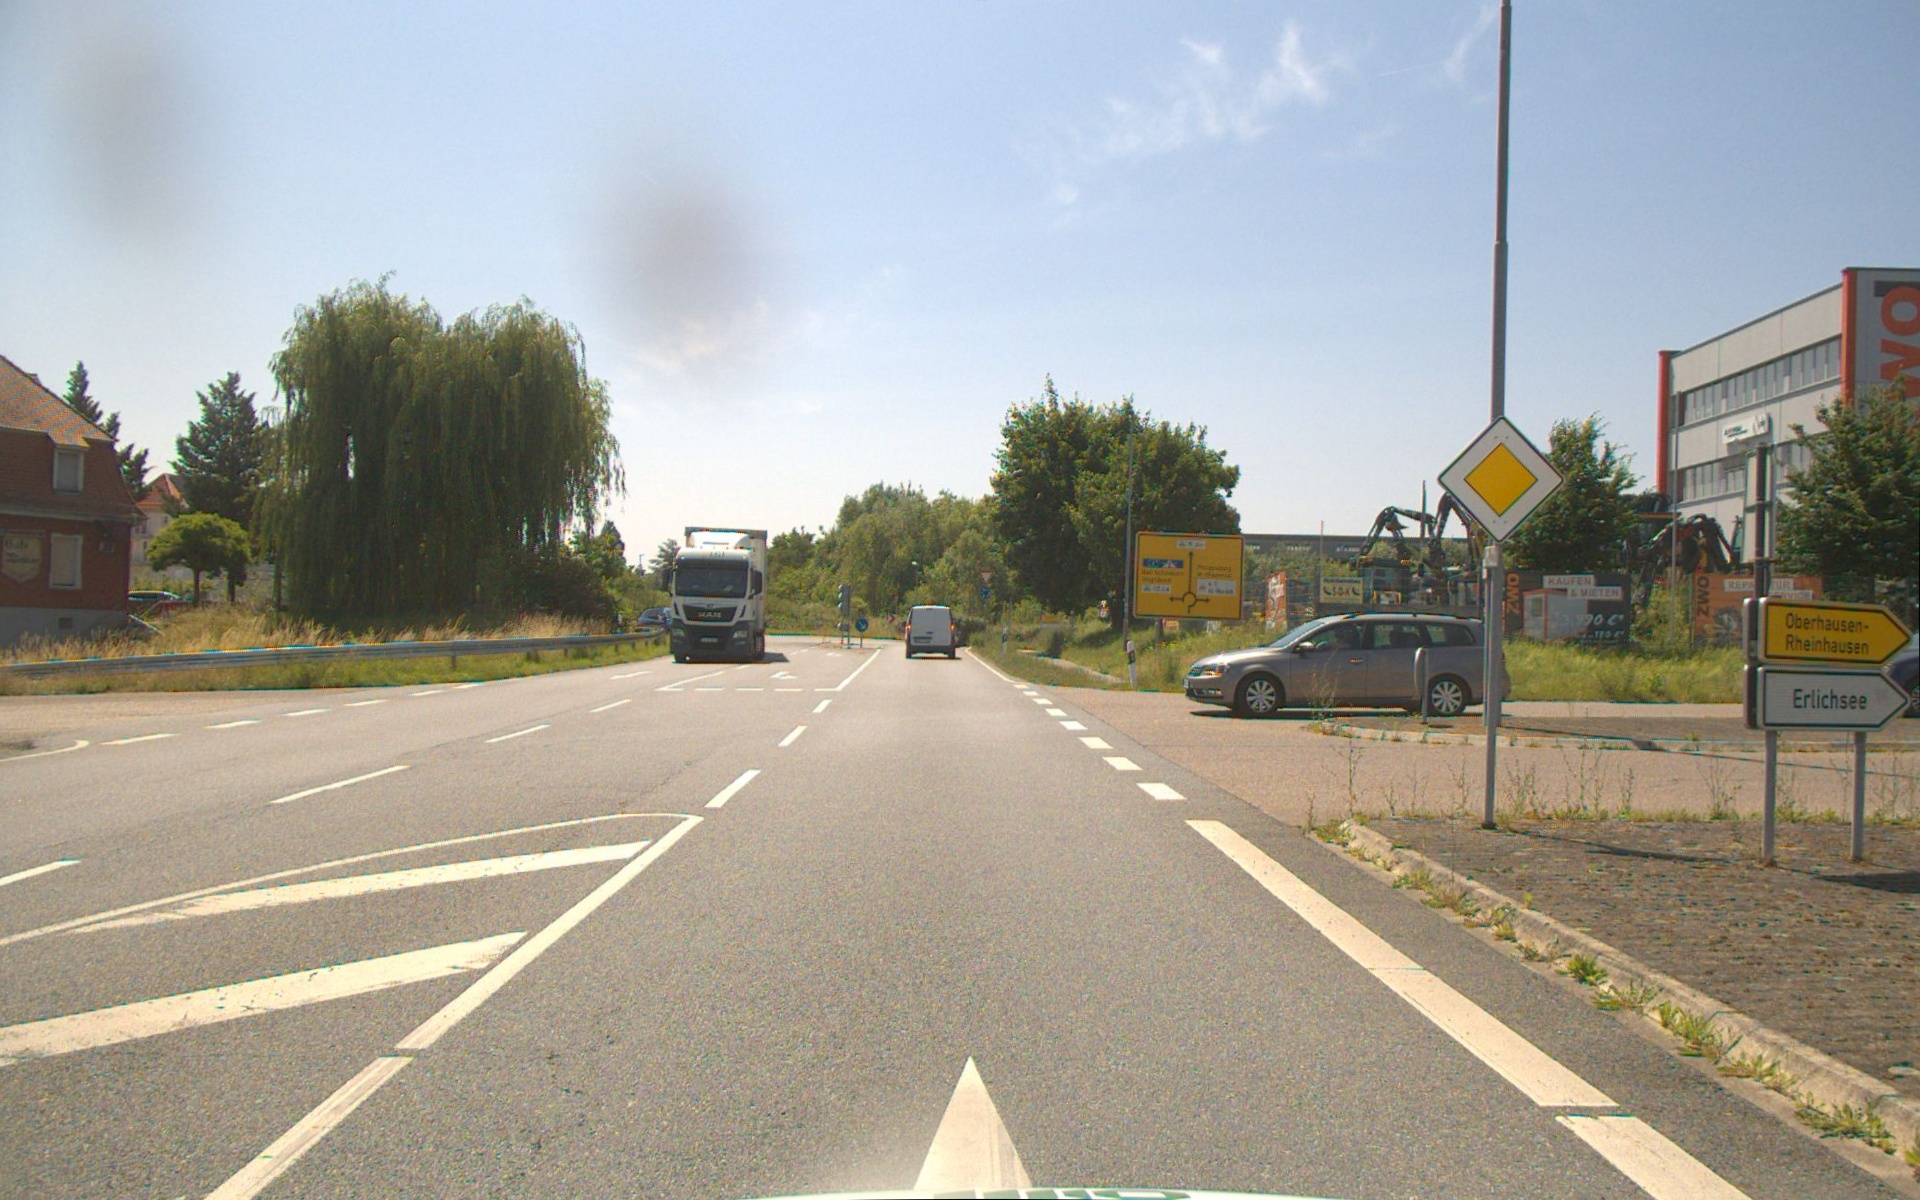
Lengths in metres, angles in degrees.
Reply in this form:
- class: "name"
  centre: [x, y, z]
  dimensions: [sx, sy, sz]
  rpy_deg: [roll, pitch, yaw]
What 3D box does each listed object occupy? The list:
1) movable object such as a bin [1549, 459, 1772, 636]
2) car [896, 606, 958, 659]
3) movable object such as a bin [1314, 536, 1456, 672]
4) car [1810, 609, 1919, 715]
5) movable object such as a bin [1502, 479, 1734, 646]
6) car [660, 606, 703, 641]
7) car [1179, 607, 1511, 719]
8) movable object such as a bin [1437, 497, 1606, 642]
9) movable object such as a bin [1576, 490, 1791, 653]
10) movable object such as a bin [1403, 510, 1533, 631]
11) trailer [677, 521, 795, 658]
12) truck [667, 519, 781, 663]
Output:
- class: "movable object such as a bin"
  centre: [22.592, -1.627, 53.557]
  dimensions: [5.796, 5.194, 3.109]
  rpy_deg: [3, -3, 2]
- class: "car"
  centre: [-1.184, 1.131, 57.896]
  dimensions: [1.867, 1.763, 3.818]
  rpy_deg: [2, -1, -5]
- class: "movable object such as a bin"
  centre: [11.243, 0.204, 44.159]
  dimensions: [2.276, 3.307, 5.099]
  rpy_deg: [3, -2, -1]
- class: "car"
  centre: [14.596, 0.872, 23.792]
  dimensions: [3.916, 1.466, 1.635]
  rpy_deg: [0, 0, 1]
- class: "movable object such as a bin"
  centre: [22.736, -1.212, 57.447]
  dimensions: [6.455, 5.238, 3.806]
  rpy_deg: [3, -3, 2]
- class: "car"
  centre: [-13.034, 1.075, 77.249]
  dimensions: [1.815, 1.595, 3.987]
  rpy_deg: [0, 0, -13]
- class: "car"
  centre: [5.547, 0.896, 24.223]
  dimensions: [4.419, 1.534, 1.914]
  rpy_deg: [1, 0, -1]
- class: "movable object such as a bin"
  centre: [22.468, -1.154, 66.404]
  dimensions: [5.598, 5.362, 3.221]
  rpy_deg: [3, -3, 2]
- class: "movable object such as a bin"
  centre: [21.074, -0.776, 48.404]
  dimensions: [4.980, 4.350, 2.834]
  rpy_deg: [3, -3, 2]
- class: "movable object such as a bin"
  centre: [23.126, -1.308, 75.441]
  dimensions: [4.980, 5.143, 2.778]
  rpy_deg: [3, -3, 2]
- class: "trailer"
  centre: [-7.667, -0.321, 58.360]
  dimensions: [2.734, 4.127, 13.495]
  rpy_deg: [3, 0, -3]
- class: "truck"
  centre: [-7.357, -0.261, 52.326]
  dimensions: [2.734, 4.127, 6.750]
  rpy_deg: [3, 0, -3]
